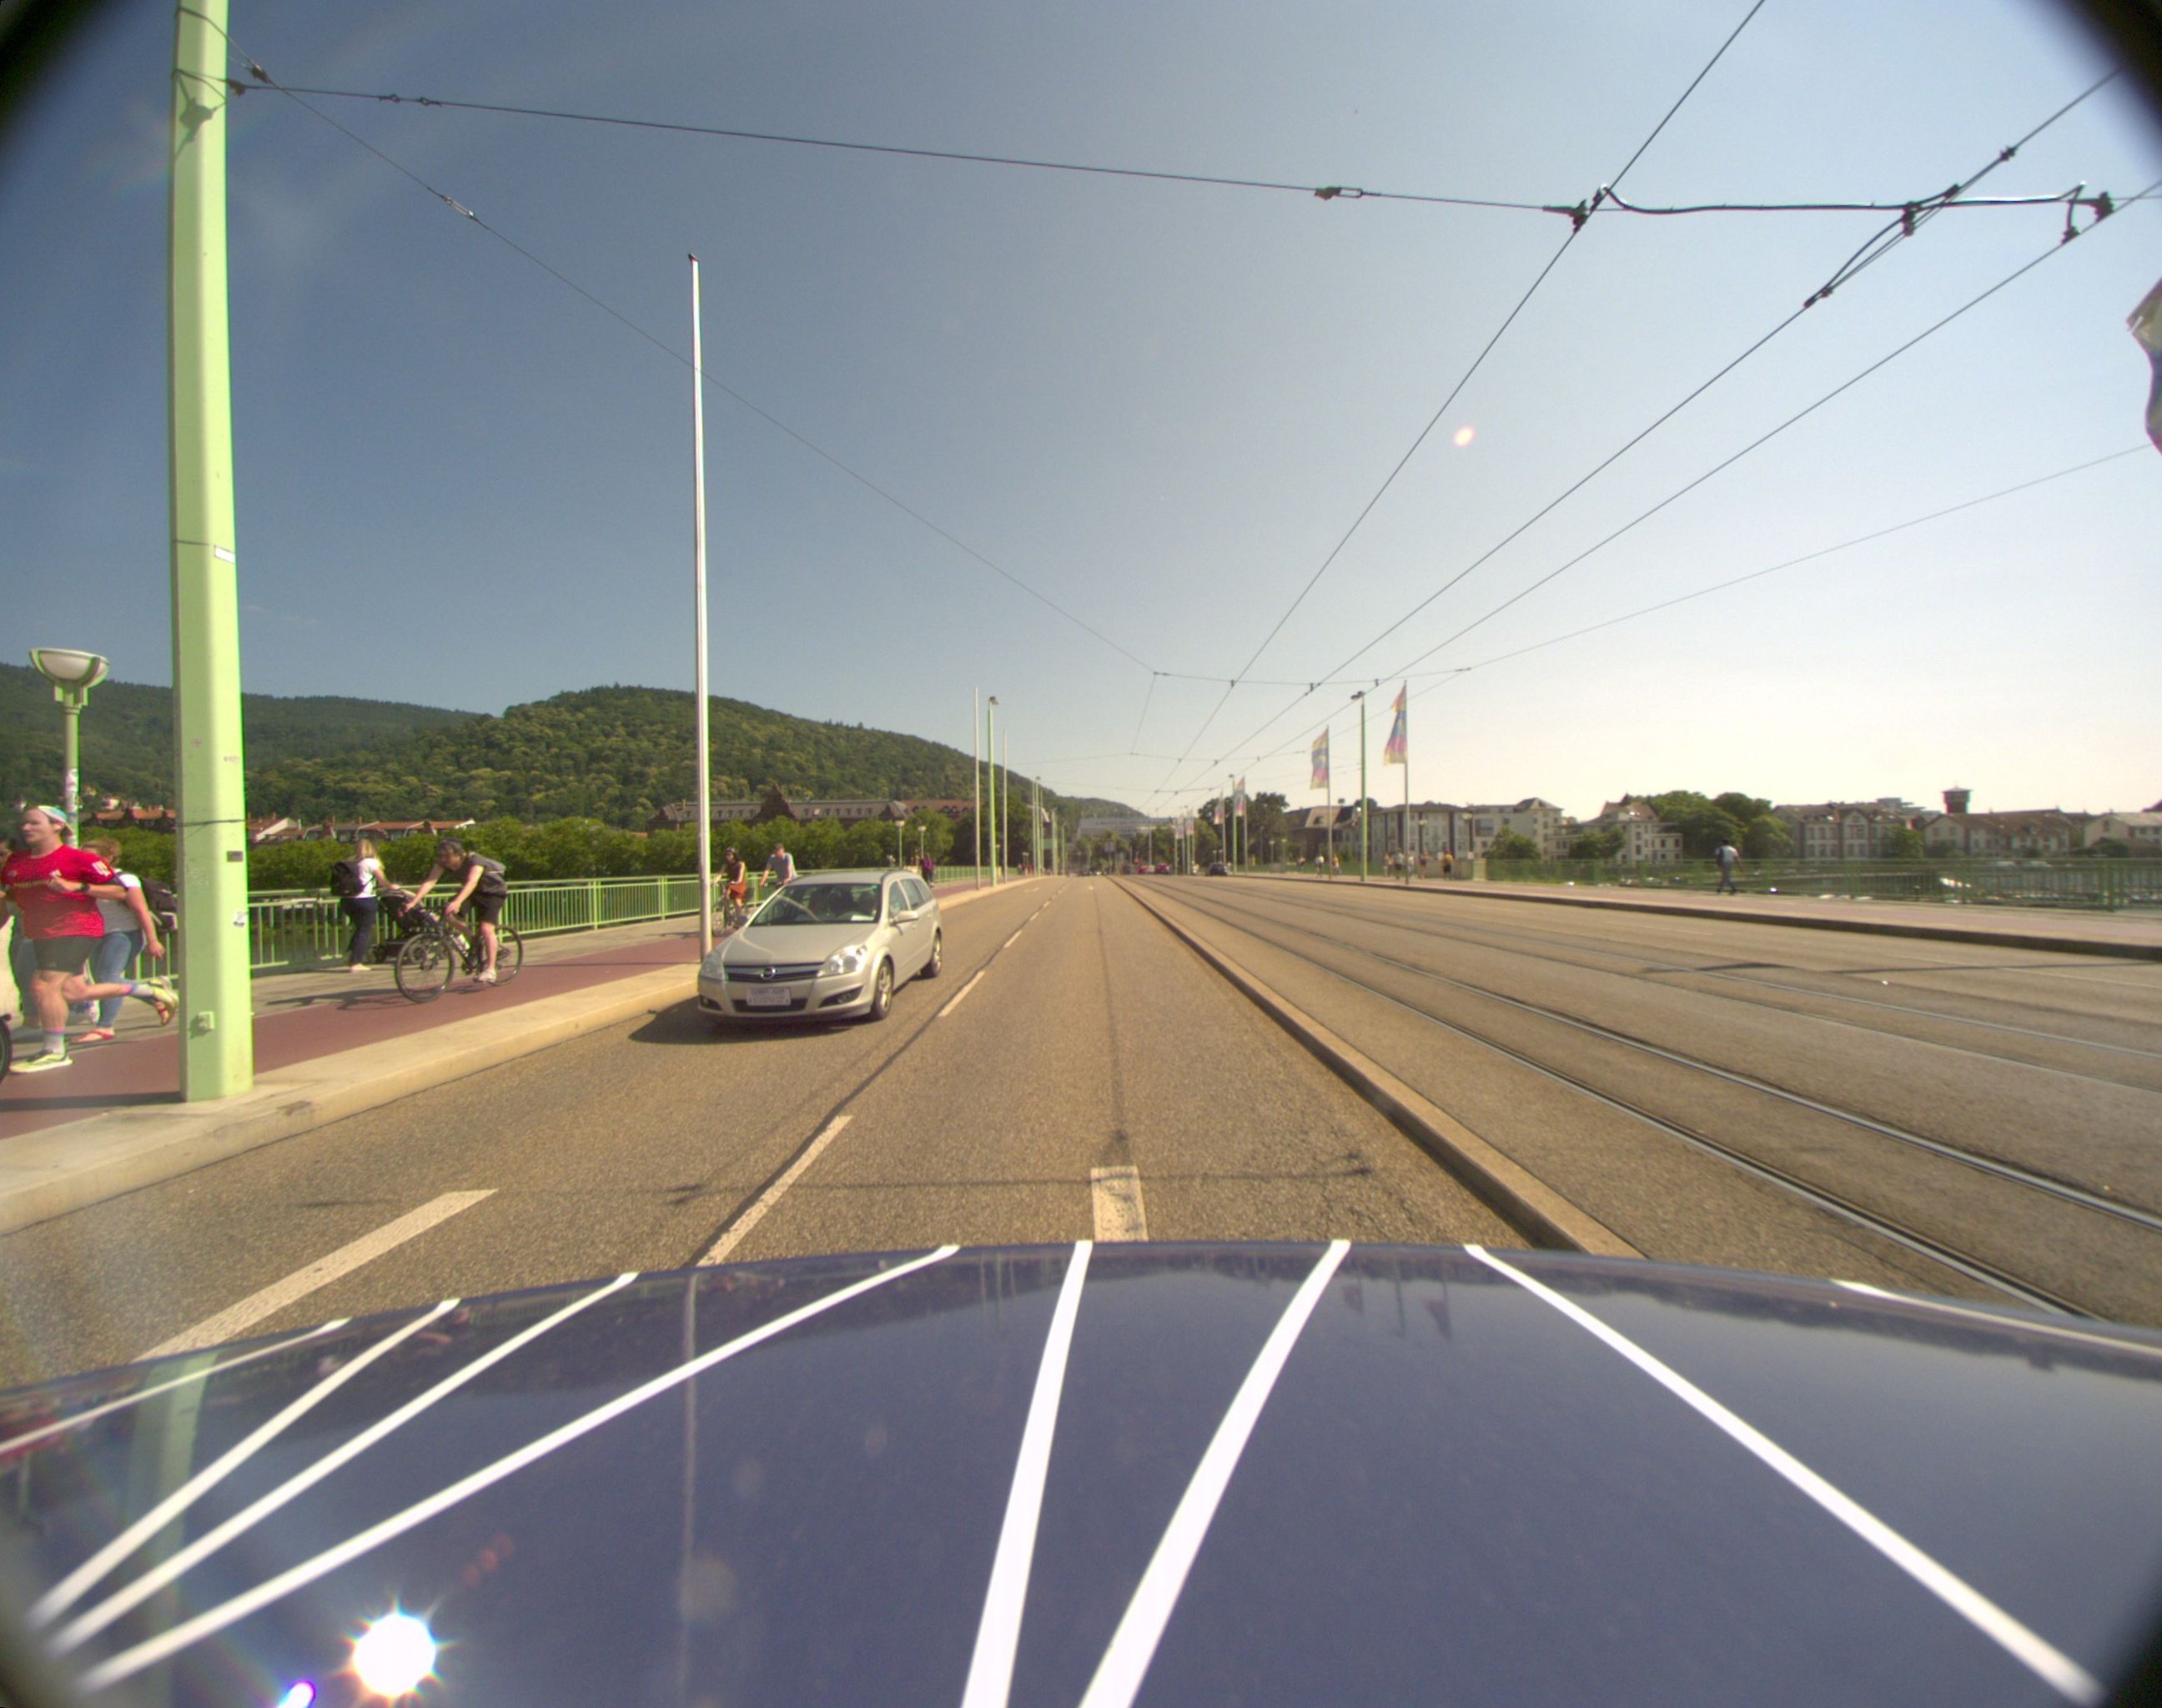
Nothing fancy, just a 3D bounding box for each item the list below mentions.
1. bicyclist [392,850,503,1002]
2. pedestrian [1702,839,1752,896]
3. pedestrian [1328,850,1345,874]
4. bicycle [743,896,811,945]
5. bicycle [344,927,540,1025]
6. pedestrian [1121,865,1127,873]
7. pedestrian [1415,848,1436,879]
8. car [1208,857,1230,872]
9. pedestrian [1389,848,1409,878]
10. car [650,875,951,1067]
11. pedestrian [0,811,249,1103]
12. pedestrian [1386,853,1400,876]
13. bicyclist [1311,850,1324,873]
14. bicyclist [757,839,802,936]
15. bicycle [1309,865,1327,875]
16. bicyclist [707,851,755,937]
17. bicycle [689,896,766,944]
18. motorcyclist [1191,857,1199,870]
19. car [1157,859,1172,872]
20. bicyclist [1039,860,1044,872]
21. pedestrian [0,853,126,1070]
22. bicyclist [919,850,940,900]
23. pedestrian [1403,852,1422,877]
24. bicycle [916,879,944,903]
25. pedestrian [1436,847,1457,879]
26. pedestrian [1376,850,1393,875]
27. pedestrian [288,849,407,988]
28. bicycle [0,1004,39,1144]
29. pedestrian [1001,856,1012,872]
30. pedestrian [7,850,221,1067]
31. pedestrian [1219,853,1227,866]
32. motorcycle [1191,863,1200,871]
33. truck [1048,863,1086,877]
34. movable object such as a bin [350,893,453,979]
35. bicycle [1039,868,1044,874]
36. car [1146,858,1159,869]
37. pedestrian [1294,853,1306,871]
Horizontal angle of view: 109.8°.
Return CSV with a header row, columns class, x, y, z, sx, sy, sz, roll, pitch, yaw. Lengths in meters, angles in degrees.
class,x,y,z,sx,sy,sz,roll,pitch,yaw
bicyclist,-6.736,0.734,8.114,0.588,1.550,0.702,0,1,-1
pedestrian,19.747,0.406,23.232,0.592,1.690,1.022,-3,0,1
pedestrian,19.031,0.584,56.609,0.787,1.690,1.022,-3,0,1
bicycle,-5.777,1.244,14.554,0.595,0.761,1.866,0,0,-2
bicycle,-6.736,1.251,8.151,0.595,0.761,1.831,0,0,-2
pedestrian,11.398,3.976,200.400,1.037,2.002,1.199,-3,2,-37
pedestrian,19.119,0.529,42.185,0.686,1.680,1.022,-3,0,1
car,14.185,1.077,78.136,1.672,1.428,4.000,-1,1,1
pedestrian,18.663,0.503,44.587,0.671,1.690,1.022,-3,0,1
car,-2.747,1.053,8.613,1.710,1.457,4.326,-2,0,1
pedestrian,-7.084,0.672,5.523,0.813,1.913,1.127,0,1,1
pedestrian,20.273,0.682,49.386,0.547,1.429,0.789,-3,0,1
bicyclist,16.974,0.553,54.552,0.666,1.641,0.622,-1,0,2
bicyclist,-5.785,0.630,14.604,0.588,1.809,0.702,0,1,-1
bicycle,16.985,1.134,54.523,0.667,0.712,2.173,-1,0,1
bicyclist,-6.823,0.765,14.837,0.606,1.641,0.702,0,1,2
bicycle,-6.821,1.260,14.749,0.595,0.761,1.866,0,0,1
motorcyclist,14.330,1.167,95.762,0.739,1.504,0.729,-5,0,0
car,11.745,1.614,106.877,1.714,1.686,4.000,-5,0,2
bicyclist,-5.571,1.671,107.245,0.731,1.655,0.844,-1,0,1
pedestrian,-8.523,0.815,6.132,0.669,1.649,0.746,0,1,0
bicyclist,-5.402,0.736,27.177,0.587,1.759,0.672,0,0,1
pedestrian,19.292,0.629,44.264,0.592,1.406,1.022,-3,0,1
bicycle,-5.387,1.314,27.199,0.595,0.761,1.866,0,0,1
pedestrian,19.890,0.486,41.320,0.592,1.690,1.022,-3,0,1
pedestrian,19.594,0.556,49.037,0.627,1.590,1.022,-3,0,1
pedestrian,-9.322,0.781,9.687,0.664,1.696,0.859,0,1,1
bicycle,-6.389,1.261,3.513,0.595,0.761,1.866,0,0,-2
pedestrian,-7.851,1.043,79.945,0.950,1.653,1.082,1,0,1
pedestrian,-7.838,0.797,6.205,0.664,1.649,0.825,0,1,1
pedestrian,18.666,0.747,100.220,0.787,1.690,1.022,-3,0,1
motorcycle,14.370,1.632,95.720,0.735,0.884,2.145,-5,0,1
truck,-2.949,3.449,163.589,7.683,2.248,2.663,-5,0,5
movable object such as a bin,-9.350,1.110,10.490,0.583,1.084,0.933,0,0,0
bicycle,-5.565,2.374,107.098,0.595,0.761,1.866,0,0,1
car,11.625,1.567,123.624,1.814,1.611,4.000,-5,0,2
pedestrian,20.305,0.732,70.484,0.787,1.690,1.022,-3,0,1
